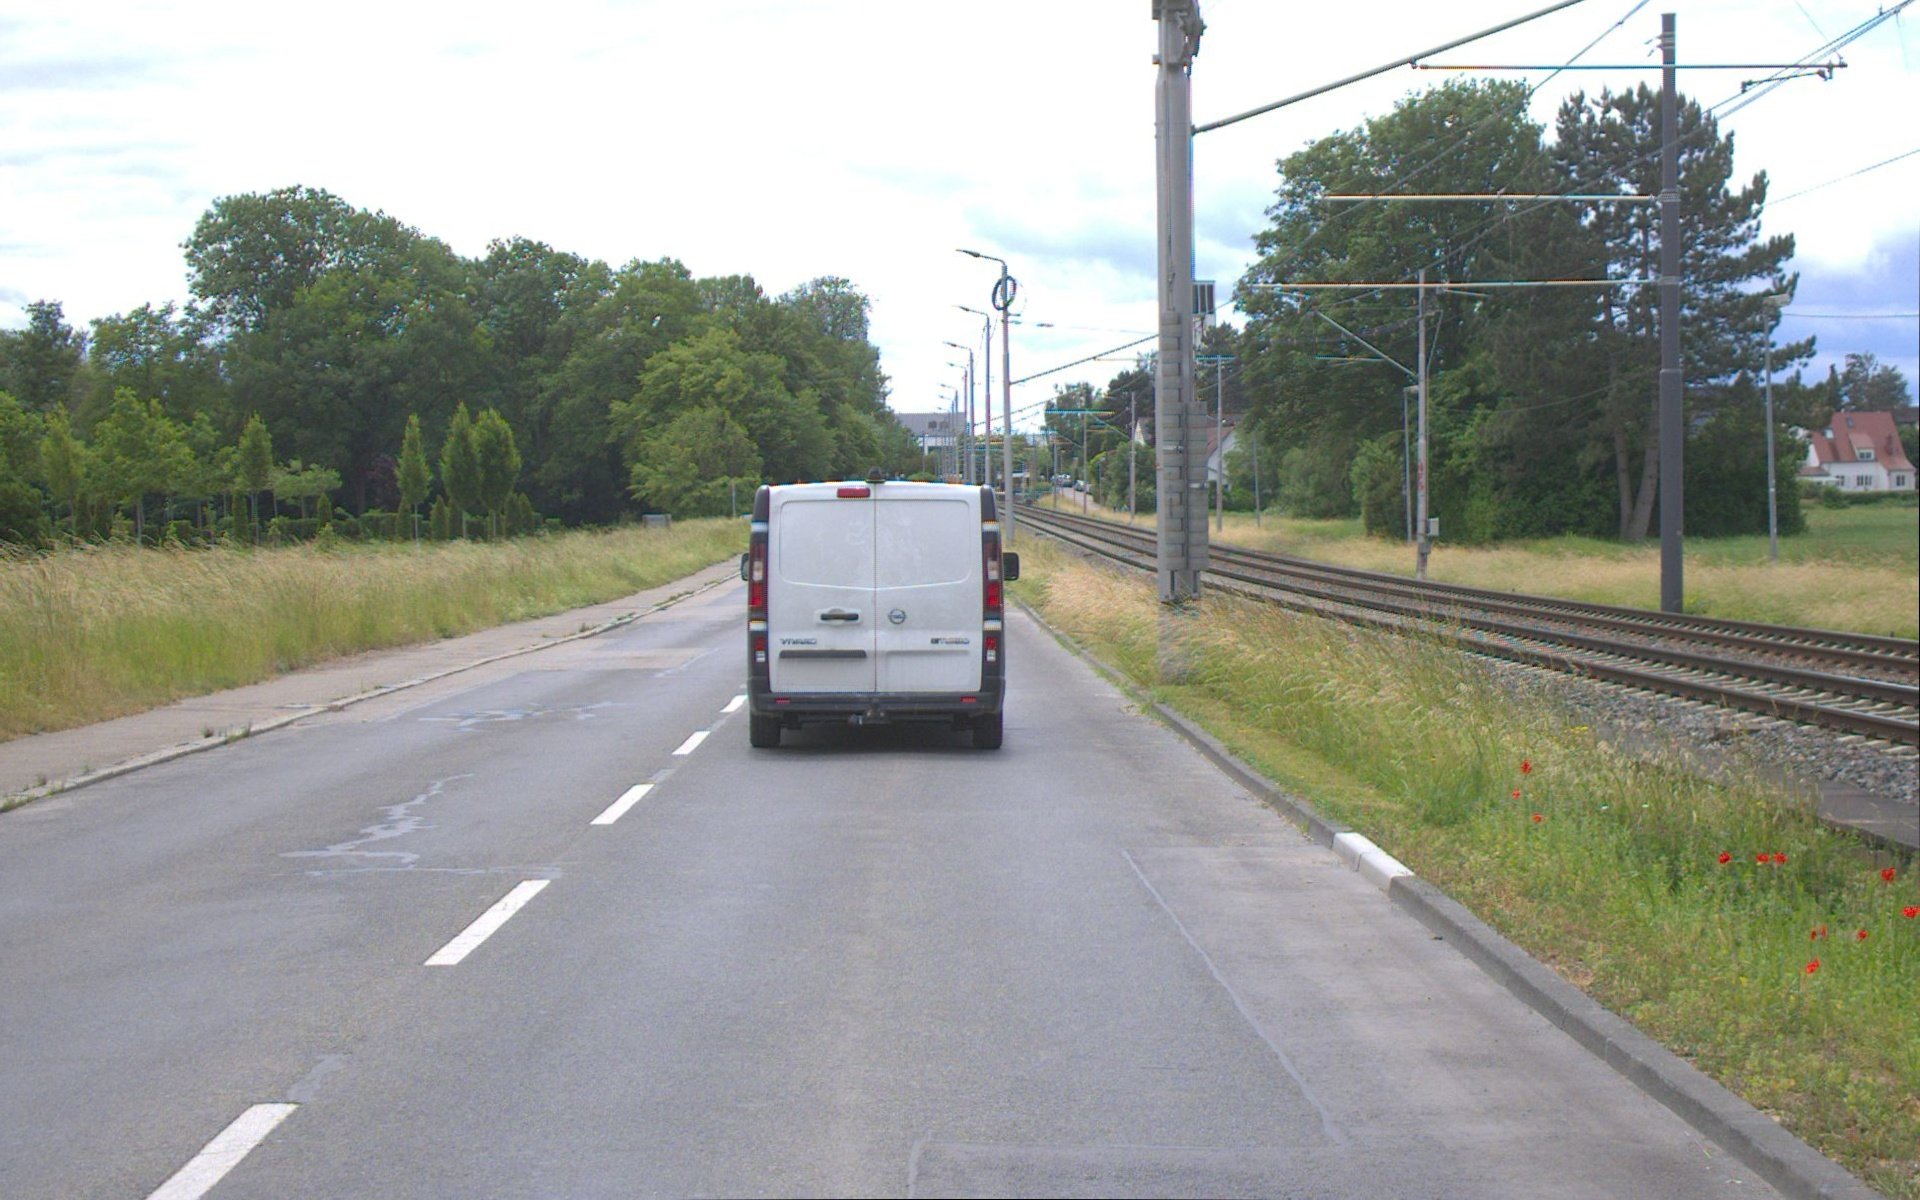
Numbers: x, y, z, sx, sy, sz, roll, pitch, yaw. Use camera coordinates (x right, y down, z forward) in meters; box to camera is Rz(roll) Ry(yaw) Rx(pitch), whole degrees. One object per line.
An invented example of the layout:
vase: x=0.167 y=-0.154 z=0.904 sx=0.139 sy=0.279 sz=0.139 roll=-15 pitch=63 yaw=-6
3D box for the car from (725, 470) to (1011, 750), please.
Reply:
car: x=-0.701 y=0.030 z=25.984 sx=1.993 sy=1.950 sz=4.000 roll=0 pitch=1 yaw=-2
